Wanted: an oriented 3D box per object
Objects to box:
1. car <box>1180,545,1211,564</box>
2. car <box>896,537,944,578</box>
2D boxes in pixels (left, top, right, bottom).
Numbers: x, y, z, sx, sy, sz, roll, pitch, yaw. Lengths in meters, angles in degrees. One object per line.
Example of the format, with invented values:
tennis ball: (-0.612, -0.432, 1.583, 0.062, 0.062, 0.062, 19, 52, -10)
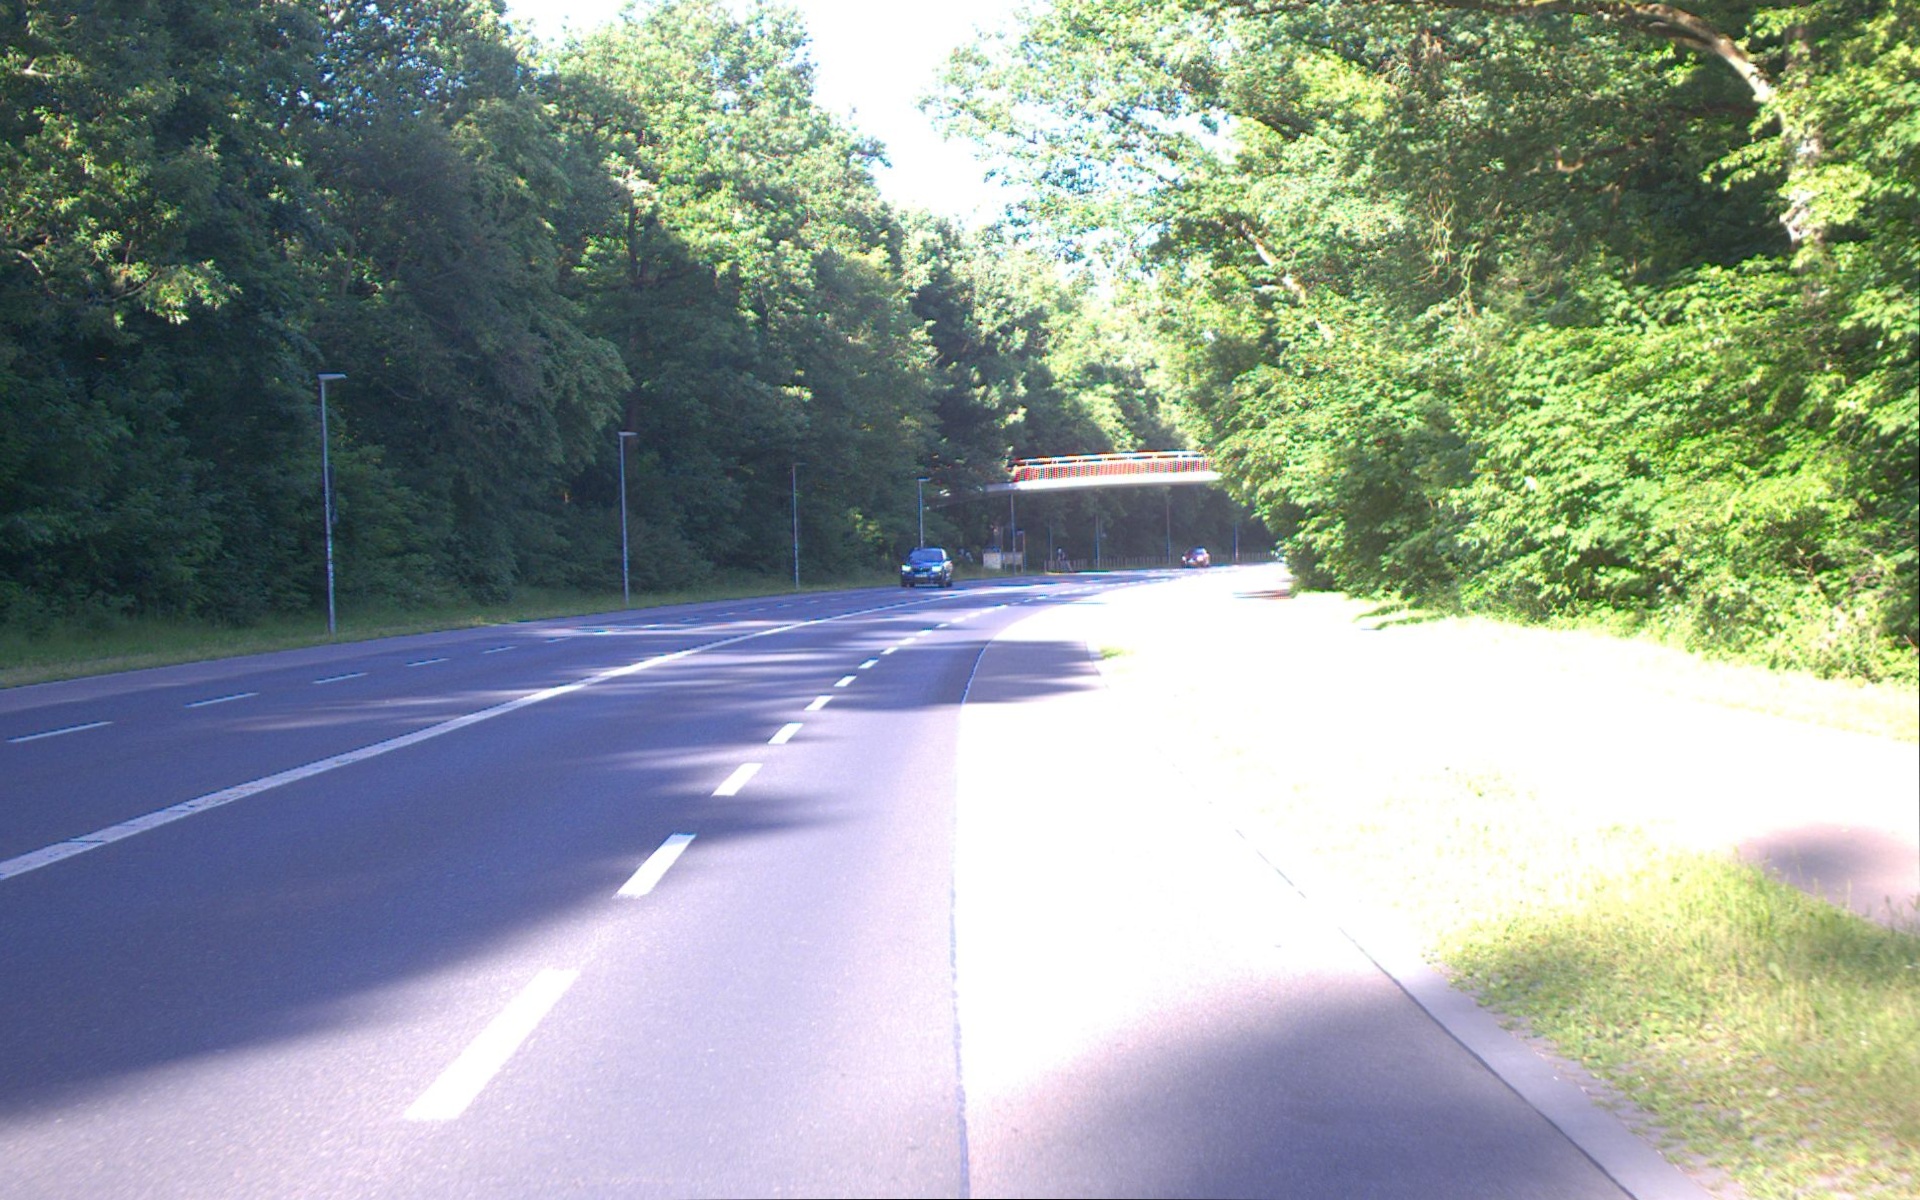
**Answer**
car: (17.620, -3.408, 257.147, 1.711, 1.418, 4.128, 0, 1, 13)
car: (-1.664, -1.767, 143.038, 1.807, 1.657, 4.522, -1, 1, 2)
